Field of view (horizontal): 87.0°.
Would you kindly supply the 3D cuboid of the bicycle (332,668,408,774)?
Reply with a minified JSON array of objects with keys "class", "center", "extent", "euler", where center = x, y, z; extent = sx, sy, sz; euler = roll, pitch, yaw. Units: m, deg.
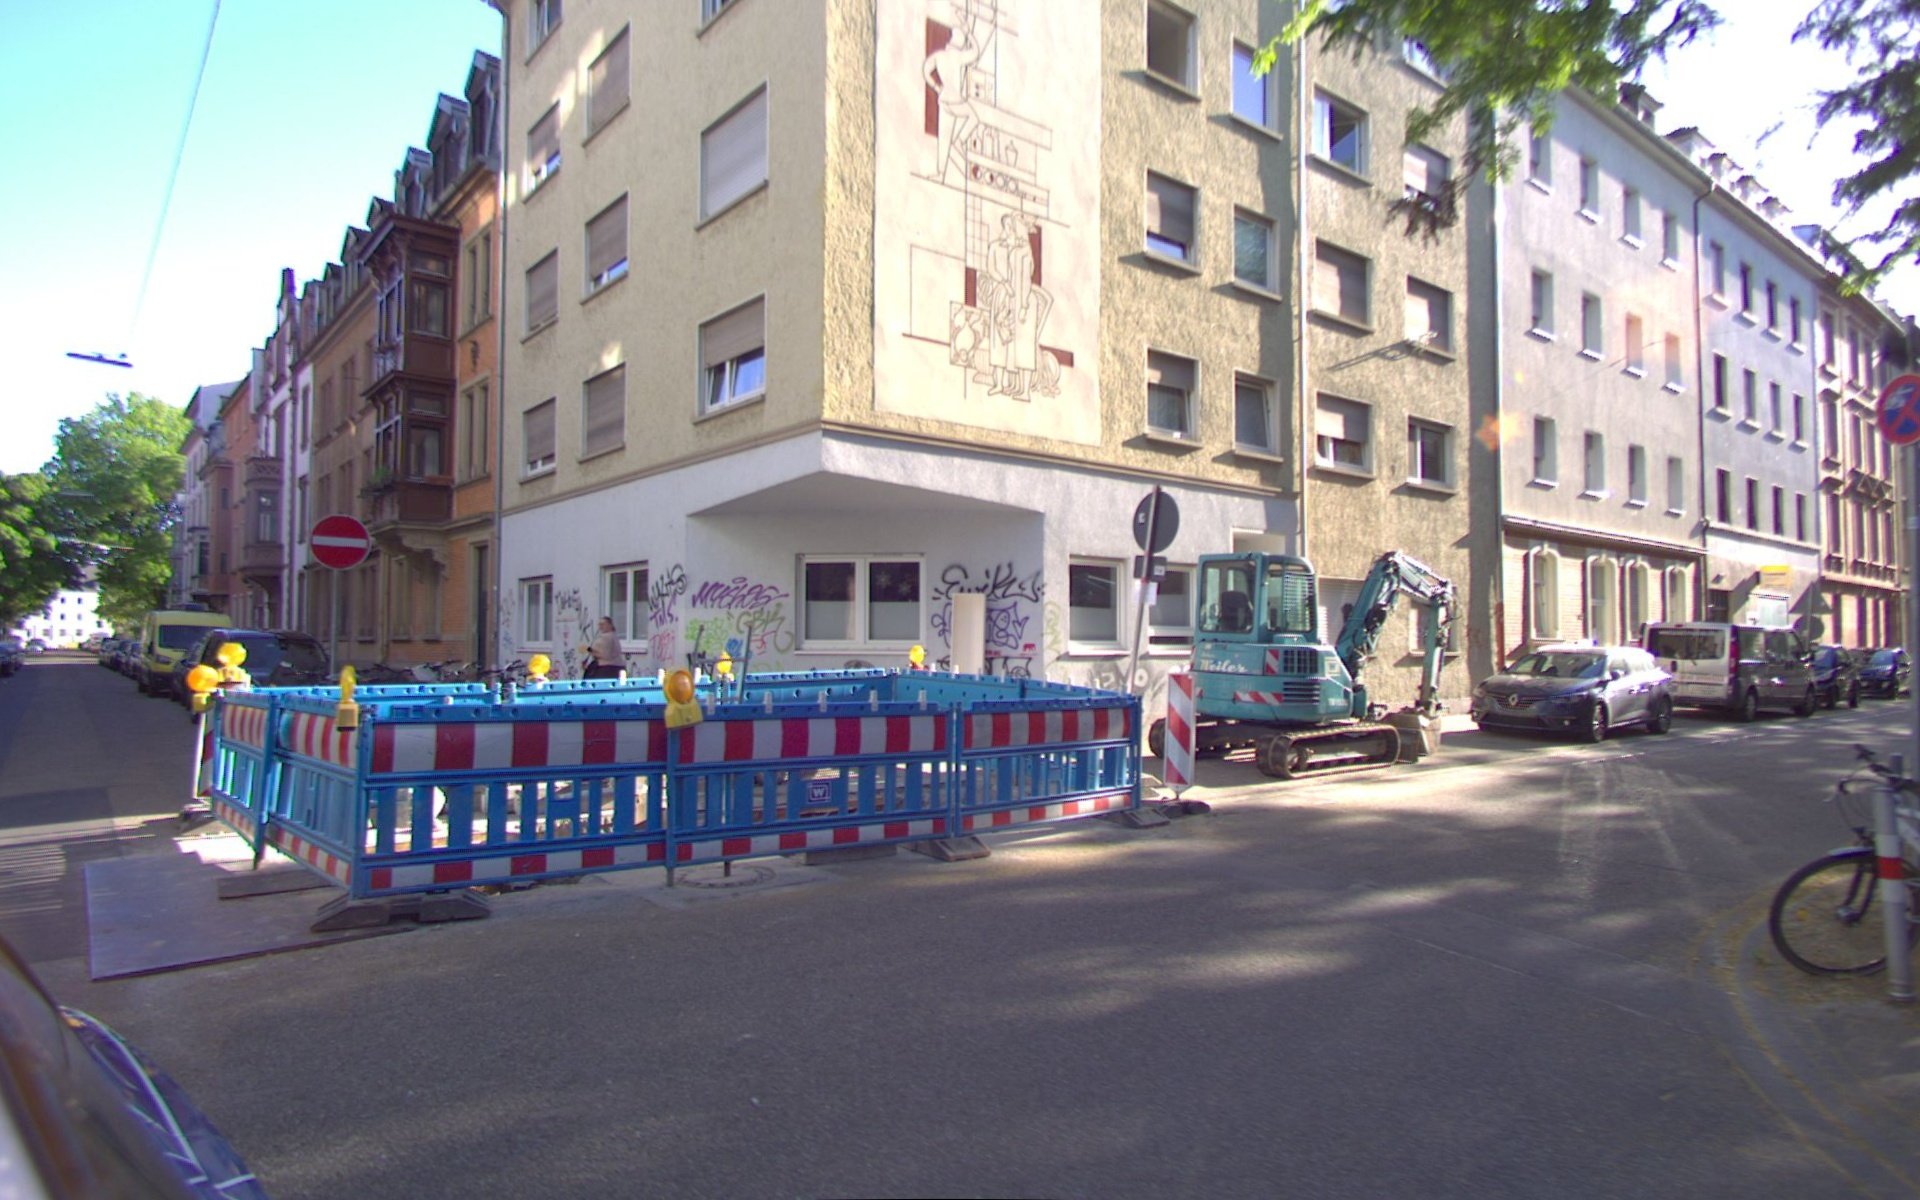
[{"class":"bicycle","center":[-7.439,1.484,12.724],"extent":[0.394,1.237,1.875],"euler":[3,-6,-43]}]

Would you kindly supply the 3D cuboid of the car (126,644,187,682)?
[{"class":"car","center":[-33.663,2.642,42.348],"extent":[1.673,1.486,3.924],"euler":[6,-6,-41]}]

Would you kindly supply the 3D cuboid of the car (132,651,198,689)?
[{"class":"car","center":[-30.034,2.616,38.189],"extent":[1.598,1.337,3.616],"euler":[6,-6,-42]}]

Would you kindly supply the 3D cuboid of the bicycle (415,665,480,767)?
[{"class":"bicycle","center":[-6.633,1.476,13.066],"extent":[0.291,1.237,1.701],"euler":[3,-5,-42]}]

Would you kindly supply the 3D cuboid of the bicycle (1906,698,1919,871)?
[{"class":"bicycle","center":[7.583,1.223,6.230],"extent":[0.674,1.189,2.448],"euler":[2,-5,-40]}]

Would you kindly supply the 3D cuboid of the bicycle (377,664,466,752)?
[{"class":"bicycle","center":[-7.779,1.524,14.591],"extent":[1.872,1.164,0.540],"euler":[-3,-4,43]}]

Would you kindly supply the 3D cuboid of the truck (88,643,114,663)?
[{"class":"truck","center":[-117.496,7.225,138.392],"extent":[2.361,2.677,7.100],"euler":[2,-4,-43]}]

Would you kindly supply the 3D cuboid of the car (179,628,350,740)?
[{"class":"car","center":[-12.718,1.447,18.399],"extent":[1.797,1.780,4.338],"euler":[3,-4,-44]}]

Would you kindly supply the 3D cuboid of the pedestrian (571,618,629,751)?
[{"class":"pedestrian","center":[-4.889,1.133,13.734],"extent":[0.558,1.754,0.518],"euler":[-3,-4,44]}]

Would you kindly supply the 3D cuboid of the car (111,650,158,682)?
[{"class":"car","center":[-43.854,3.457,53.751],"extent":[1.739,1.630,4.194],"euler":[2,-4,-41]}]

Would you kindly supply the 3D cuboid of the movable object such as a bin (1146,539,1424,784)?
[{"class":"movable object such as a bin","center":[4.014,0.737,12.534],"extent":[2.716,2.621,2.074],"euler":[2,-4,-37]}]

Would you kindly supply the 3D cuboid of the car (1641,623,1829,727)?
[{"class":"car","center":[16.368,1.517,21.312],"extent":[4.537,1.954,2.004],"euler":[2,-3,-38]}]

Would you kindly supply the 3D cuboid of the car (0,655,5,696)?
[{"class":"car","center":[-35.669,2.689,36.440],"extent":[1.733,1.457,4.072],"euler":[7,-7,-43]}]

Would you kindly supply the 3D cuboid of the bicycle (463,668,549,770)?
[{"class":"bicycle","center":[-5.978,1.524,13.272],"extent":[0.394,1.237,2.032],"euler":[3,-5,-42]}]

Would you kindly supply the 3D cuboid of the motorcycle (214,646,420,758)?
[{"class":"motorcycle","center":[-9.340,1.424,14.871],"extent":[0.897,1.493,2.502],"euler":[-1,-3,21]}]

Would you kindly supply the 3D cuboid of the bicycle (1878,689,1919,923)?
[{"class":"bicycle","center":[6.540,1.148,5.291],"extent":[0.674,1.331,2.448],"euler":[2,-5,-41]}]

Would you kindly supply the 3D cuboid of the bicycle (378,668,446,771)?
[{"class":"bicycle","center":[-7.003,1.492,12.909],"extent":[0.359,1.237,1.554],"euler":[3,-6,-43]}]

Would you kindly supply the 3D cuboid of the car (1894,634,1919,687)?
[{"class":"car","center":[34.333,2.083,35.256],"extent":[3.934,1.813,1.840],"euler":[2,-3,-36]}]

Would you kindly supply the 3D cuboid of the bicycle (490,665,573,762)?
[{"class":"bicycle","center":[-5.878,1.526,13.838],"extent":[0.394,1.237,1.817],"euler":[3,-6,-45]}]

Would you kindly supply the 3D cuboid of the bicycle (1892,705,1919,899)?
[{"class":"bicycle","center":[7.055,1.229,5.760],"extent":[0.674,1.189,2.448],"euler":[2,-5,-40]}]

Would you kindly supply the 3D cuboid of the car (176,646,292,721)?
[{"class":"car","center":[-15.878,1.758,22.070],"extent":[1.656,1.461,3.649],"euler":[1,-3,-42]}]

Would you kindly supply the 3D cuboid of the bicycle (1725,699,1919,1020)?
[{"class":"bicycle","center":[4.637,1.107,4.223],"extent":[0.674,1.331,2.146],"euler":[2,-5,-41]}]

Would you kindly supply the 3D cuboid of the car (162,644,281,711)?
[{"class":"car","center":[-18.770,1.922,25.663],"extent":[1.969,1.564,4.004],"euler":[3,-4,-42]}]

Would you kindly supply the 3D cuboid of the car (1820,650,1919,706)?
[{"class":"car","center":[26.845,2.231,29.517],"extent":[3.934,1.503,1.804],"euler":[2,-3,-36]}]

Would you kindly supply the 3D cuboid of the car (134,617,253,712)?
[{"class":"car","center":[-22.743,1.911,29.927],"extent":[2.149,2.527,5.885],"euler":[6,-6,-42]}]

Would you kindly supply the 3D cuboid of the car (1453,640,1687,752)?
[{"class":"car","center":[10.221,1.499,16.856],"extent":[4.135,1.578,1.913],"euler":[2,-1,-37]}]

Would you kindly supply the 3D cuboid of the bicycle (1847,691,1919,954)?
[{"class":"bicycle","center":[5.855,1.109,4.717],"extent":[0.674,1.331,2.448],"euler":[2,-5,-41]}]

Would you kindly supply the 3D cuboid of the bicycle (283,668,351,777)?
[{"class":"bicycle","center":[-7.787,1.448,12.237],"extent":[0.394,1.237,1.506],"euler":[3,-6,-43]}]

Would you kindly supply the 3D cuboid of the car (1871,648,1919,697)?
[{"class":"car","center":[30.720,2.267,32.174],"extent":[3.934,1.503,1.804],"euler":[2,-3,-36]}]

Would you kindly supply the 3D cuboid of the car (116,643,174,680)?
[{"class":"car","center":[-37.609,2.801,46.678],"extent":[1.760,1.618,4.073],"euler":[2,-4,-43]}]

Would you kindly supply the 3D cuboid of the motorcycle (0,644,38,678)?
[{"class":"motorcycle","center":[-44.495,2.855,47.091],"extent":[0.884,1.548,2.210],"euler":[-2,-2,22]}]

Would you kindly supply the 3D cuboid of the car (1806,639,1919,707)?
[{"class":"car","center":[26.167,2.040,29.117],"extent":[3.934,1.813,1.840],"euler":[2,-3,-36]}]

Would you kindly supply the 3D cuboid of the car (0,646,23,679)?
[{"class":"car","center":[-41.776,2.702,43.709],"extent":[1.755,1.407,4.323],"euler":[2,-4,-41]}]

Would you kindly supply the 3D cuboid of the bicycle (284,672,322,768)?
[{"class":"bicycle","center":[-8.706,1.557,13.397],"extent":[0.371,1.164,1.294],"euler":[2,-3,-34]}]
